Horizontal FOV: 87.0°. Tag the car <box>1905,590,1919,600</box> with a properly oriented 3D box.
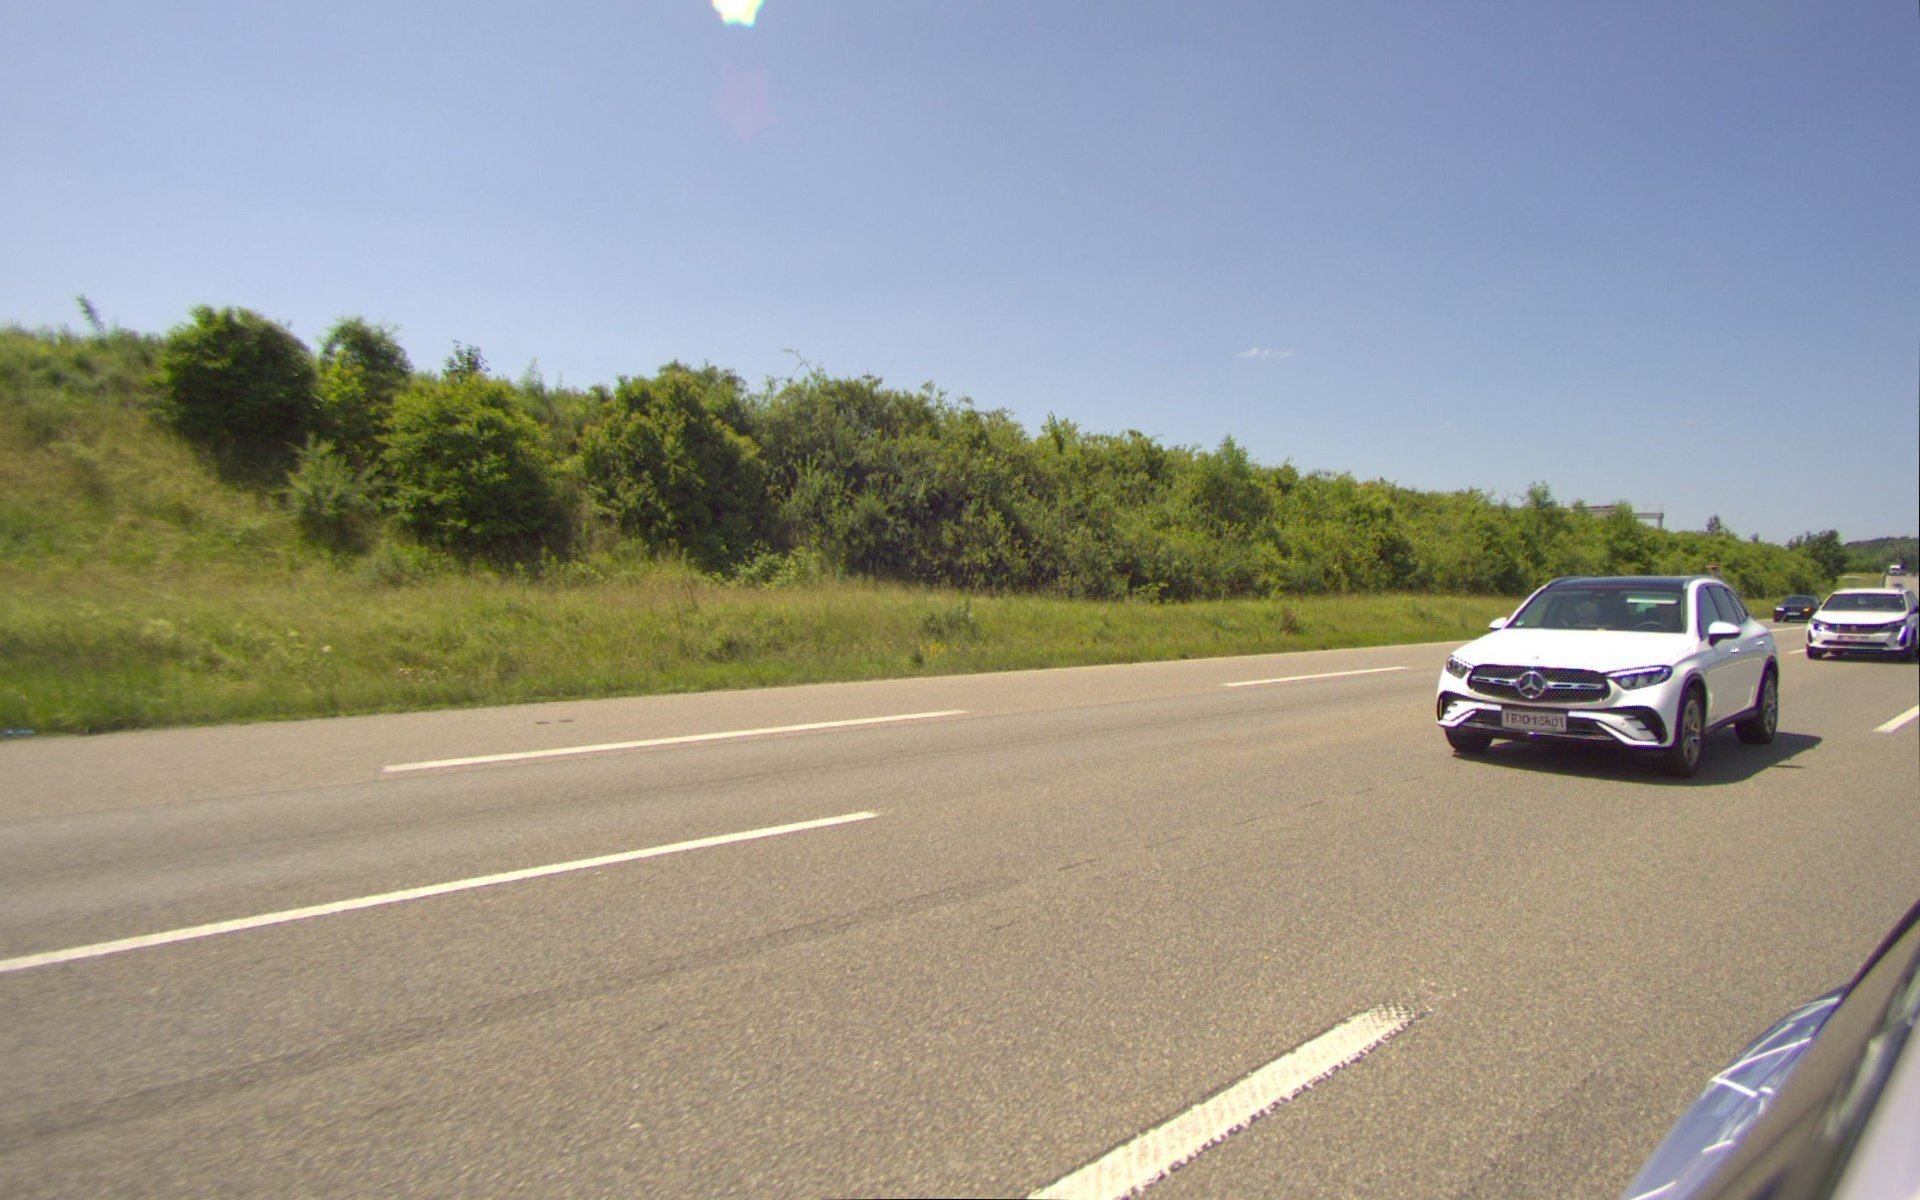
[{"bbox_3d":[156.767,-0.826,166.134,4.539,1.650,1.980,-2,1,-43],"label":"car"}]

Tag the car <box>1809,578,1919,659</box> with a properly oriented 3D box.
[{"bbox_3d":[21.266,0.347,23.353,4.537,1.650,1.896,-2,1,-41],"label":"car"}]

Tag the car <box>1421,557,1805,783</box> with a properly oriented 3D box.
[{"bbox_3d":[6.417,0.503,9.718,4.555,1.677,1.908,0,0,-41],"label":"car"}]

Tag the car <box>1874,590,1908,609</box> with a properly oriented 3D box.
[{"bbox_3d":[86.551,-0.079,94.042,4.539,1.650,1.980,-2,1,-43],"label":"car"}]

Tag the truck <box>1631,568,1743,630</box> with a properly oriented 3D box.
[{"bbox_3d":[26.986,-0.075,37.466,6.014,2.118,2.167,-1,2,-43],"label":"truck"}]

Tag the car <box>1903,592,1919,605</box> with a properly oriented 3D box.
[{"bbox_3d":[126.722,-0.251,134.227,4.539,1.650,1.980,-2,1,-43],"label":"car"}]
